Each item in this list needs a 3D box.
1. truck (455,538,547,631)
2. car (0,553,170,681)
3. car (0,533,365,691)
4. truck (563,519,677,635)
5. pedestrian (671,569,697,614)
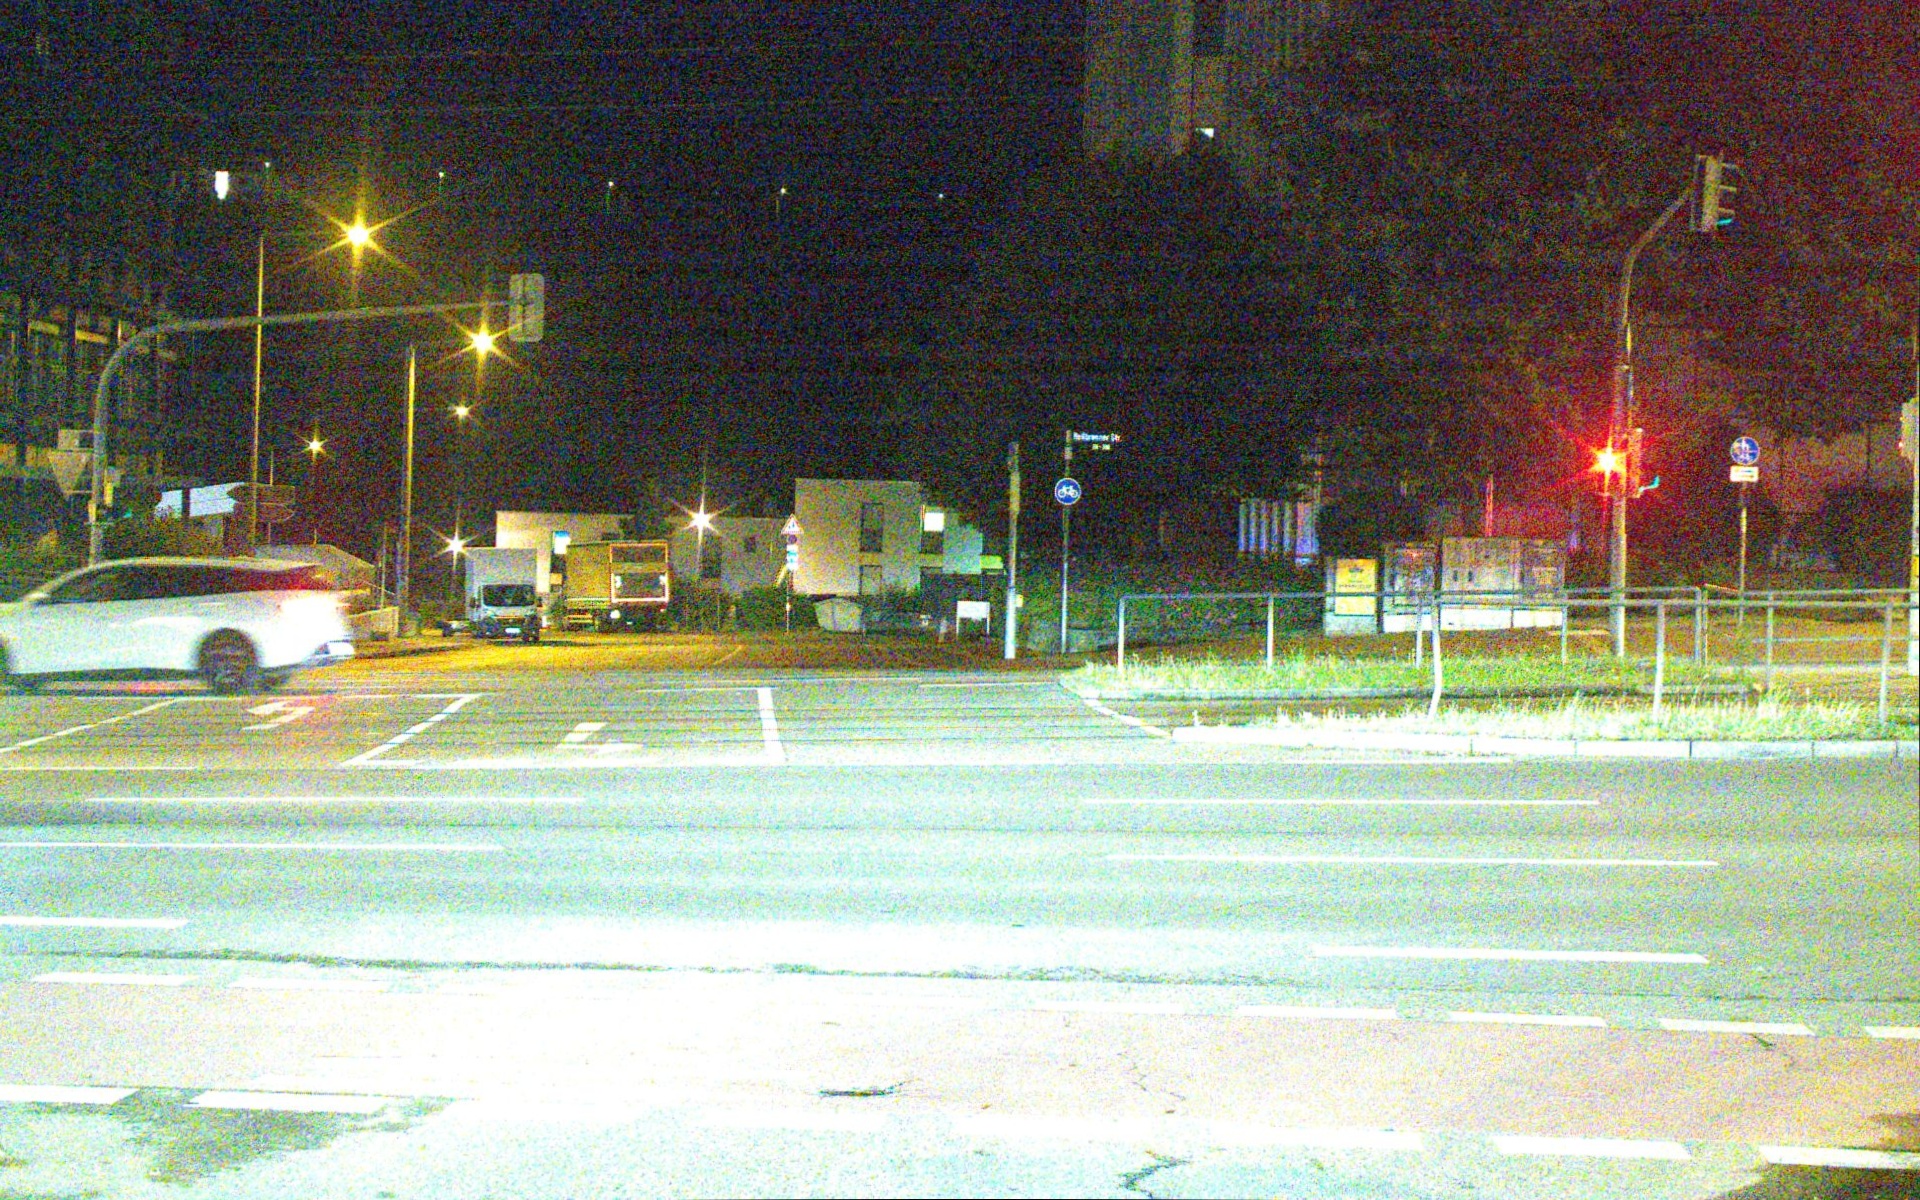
[{"bbox_3d":[-15.938,-0.530,119.096,2.417,3.078,6.439,1,0,-14],"label":"truck"},{"bbox_3d":[-12.534,0.199,44.281,4.234,1.579,1.887,1,0,2],"label":"car"},{"bbox_3d":[-9.059,0.108,38.057,4.570,1.579,1.847,1,2,2],"label":"car"},{"bbox_3d":[-14.778,-0.992,148.853,3.359,4.826,7.908,1,0,-17],"label":"truck"},{"bbox_3d":[-11.849,-0.372,147.585,0.849,1.905,1.007,1,0,-18],"label":"pedestrian"}]
